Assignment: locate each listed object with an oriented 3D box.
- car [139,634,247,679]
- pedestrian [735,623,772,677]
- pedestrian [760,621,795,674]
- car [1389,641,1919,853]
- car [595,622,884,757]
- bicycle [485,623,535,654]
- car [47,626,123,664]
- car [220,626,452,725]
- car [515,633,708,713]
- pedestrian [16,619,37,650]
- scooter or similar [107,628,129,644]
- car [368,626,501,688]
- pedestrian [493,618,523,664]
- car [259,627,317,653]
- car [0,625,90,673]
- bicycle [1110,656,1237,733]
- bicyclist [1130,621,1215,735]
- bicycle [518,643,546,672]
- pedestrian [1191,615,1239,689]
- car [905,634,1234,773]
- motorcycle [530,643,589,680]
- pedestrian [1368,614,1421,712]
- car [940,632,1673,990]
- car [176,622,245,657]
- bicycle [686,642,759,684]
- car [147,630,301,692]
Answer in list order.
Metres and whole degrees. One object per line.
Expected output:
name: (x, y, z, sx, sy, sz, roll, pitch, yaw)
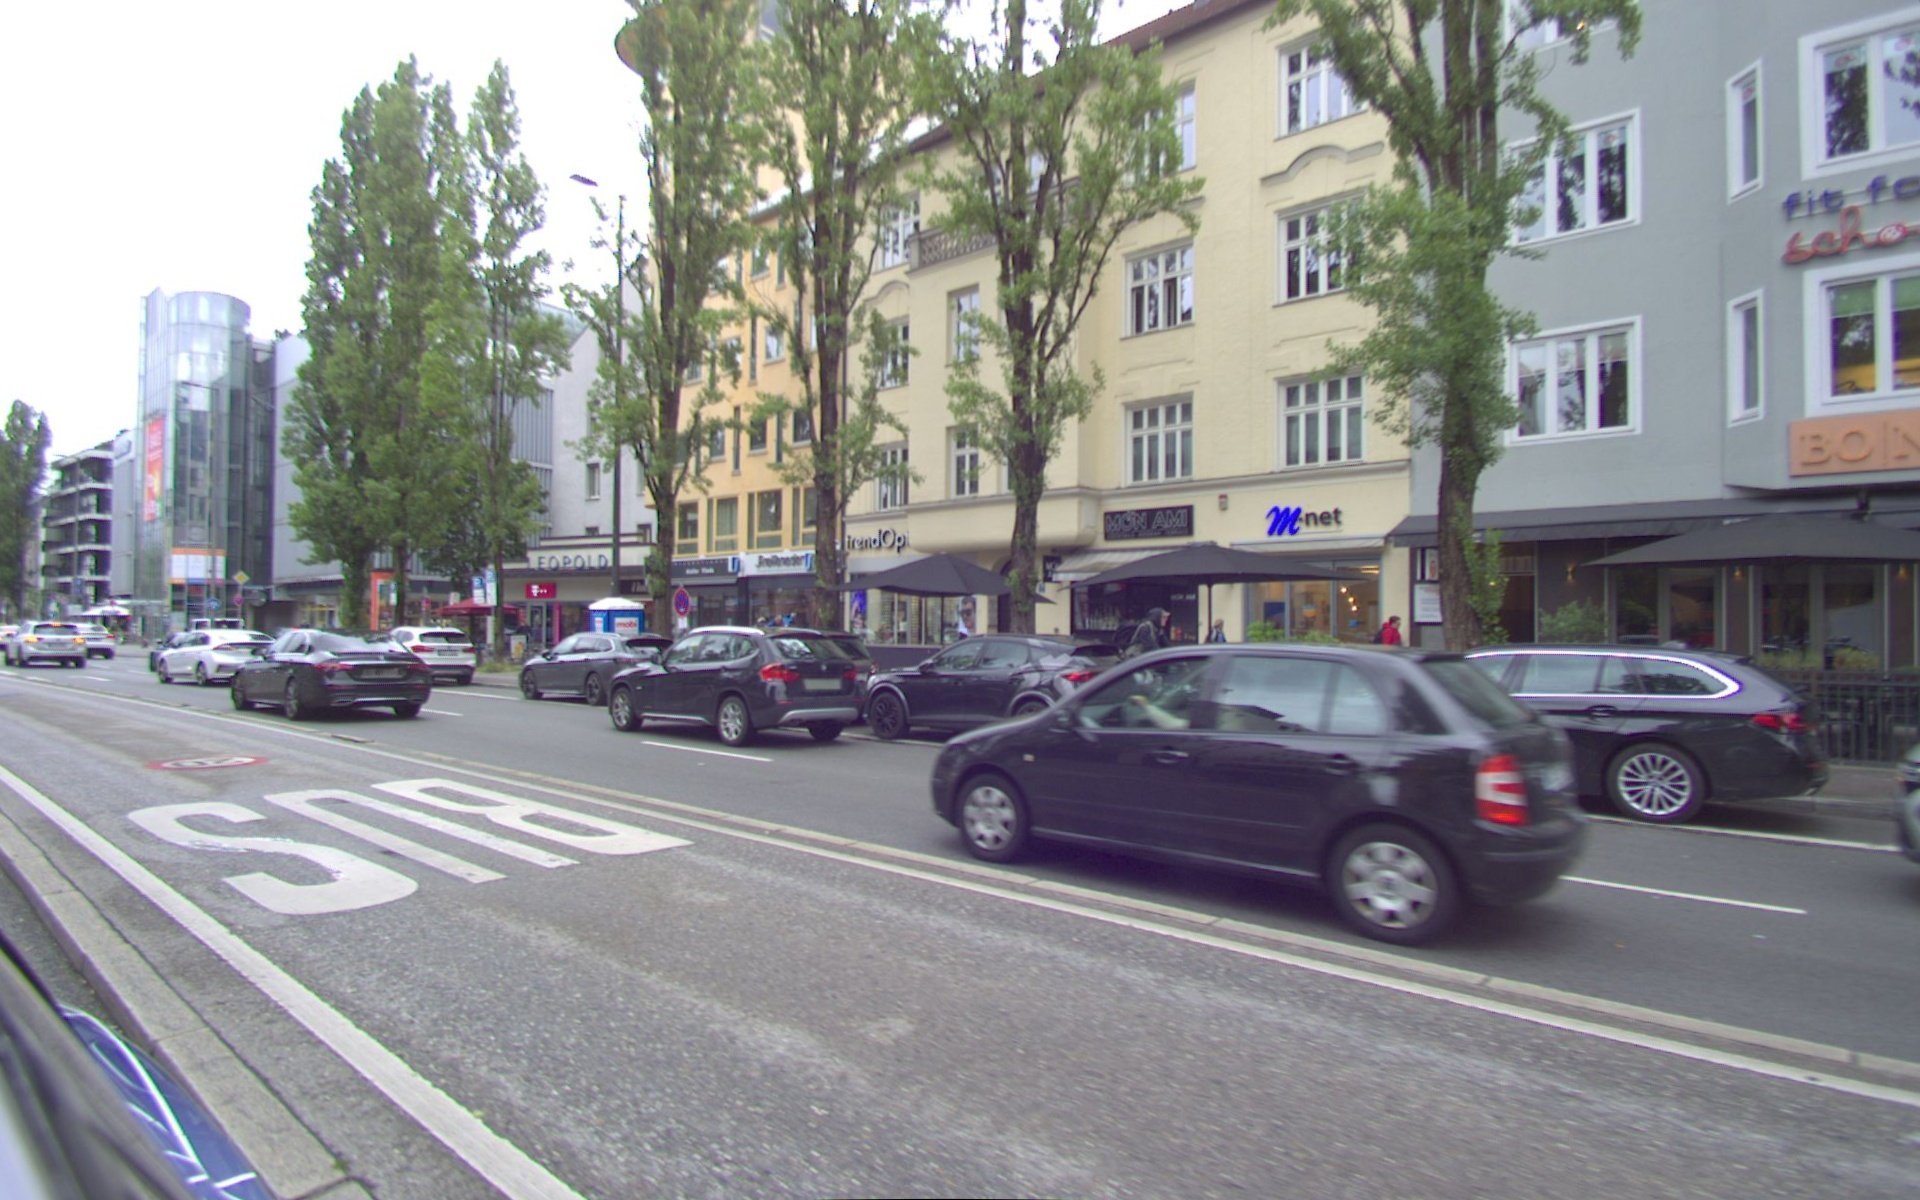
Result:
car: (-26.477, 1.913, 34.870, 4.533, 1.445, 1.920, -1, -3, 39)
pedestrian: (-6.466, 1.550, 31.683, 0.763, 1.638, 0.831, 0, 0, 39)
pedestrian: (-5.868, 1.515, 32.517, 0.763, 1.638, 0.831, 0, 0, 39)
car: (6.376, 1.135, 9.009, 4.319, 1.494, 1.972, -2, -4, 42)
car: (-3.213, 1.144, 14.303, 4.210, 1.576, 1.829, 0, -2, 41)
bicycle: (-19.307, 1.650, 43.433, 2.297, 1.318, 0.839, -1, -3, 34)
car: (-40.507, 2.076, 46.833, 4.633, 1.664, 1.973, -1, -4, 41)
car: (-10.642, 1.192, 17.107, 4.769, 1.443, 1.973, -2, -4, 41)
car: (-7.386, 1.460, 21.288, 4.293, 1.505, 1.919, -1, -3, 41)
pedestrian: (-58.817, 2.168, 63.761, 0.845, 1.881, 0.779, -1, -2, 37)
scooter or similar: (-60.552, 2.563, 72.757, 1.366, 1.148, 0.366, 0, -2, 10)
car: (-15.007, 1.578, 28.820, 4.381, 1.642, 1.972, -2, -3, 43)
pedestrian: (-19.302, 1.744, 43.212, 0.831, 1.913, 0.850, -1, -3, 35)
car: (-39.748, 2.367, 59.823, 4.508, 1.450, 1.900, -2, -3, 44)
car: (-33.160, 1.740, 36.570, 4.461, 1.655, 1.919, -1, -3, 41)
bicycle: (3.060, 1.337, 14.626, 1.766, 1.014, 0.504, -1, -3, 41)
bicyclist: (3.061, 1.103, 14.637, 1.106, 1.593, 0.491, -2, -3, 40)
bicycle: (-15.123, 2.030, 35.776, 1.478, 0.983, 0.289, -1, -2, 42)
pedestrian: (5.535, 1.120, 21.959, 0.816, 1.573, 0.627, -2, -3, 43)
car: (1.332, 1.230, 13.255, 3.999, 1.530, 1.785, -2, -3, 42)
motorcycle: (-12.632, 1.911, 31.979, 0.483, 1.044, 2.048, 0, 0, 20)
pedestrian: (8.007, 1.144, 18.663, 0.755, 1.760, 0.533, -2, -2, 41)
car: (1.811, 0.908, 5.955, 3.722, 1.425, 1.693, -2, -3, 42)
car: (-44.697, 2.340, 60.313, 5.105, 2.029, 1.974, -1, -3, 38)
bicycle: (-6.084, 1.608, 26.066, 0.620, 1.049, 1.993, -1, -3, 30)
car: (-19.423, 1.555, 26.673, 4.285, 1.505, 1.923, -1, -3, 34)
